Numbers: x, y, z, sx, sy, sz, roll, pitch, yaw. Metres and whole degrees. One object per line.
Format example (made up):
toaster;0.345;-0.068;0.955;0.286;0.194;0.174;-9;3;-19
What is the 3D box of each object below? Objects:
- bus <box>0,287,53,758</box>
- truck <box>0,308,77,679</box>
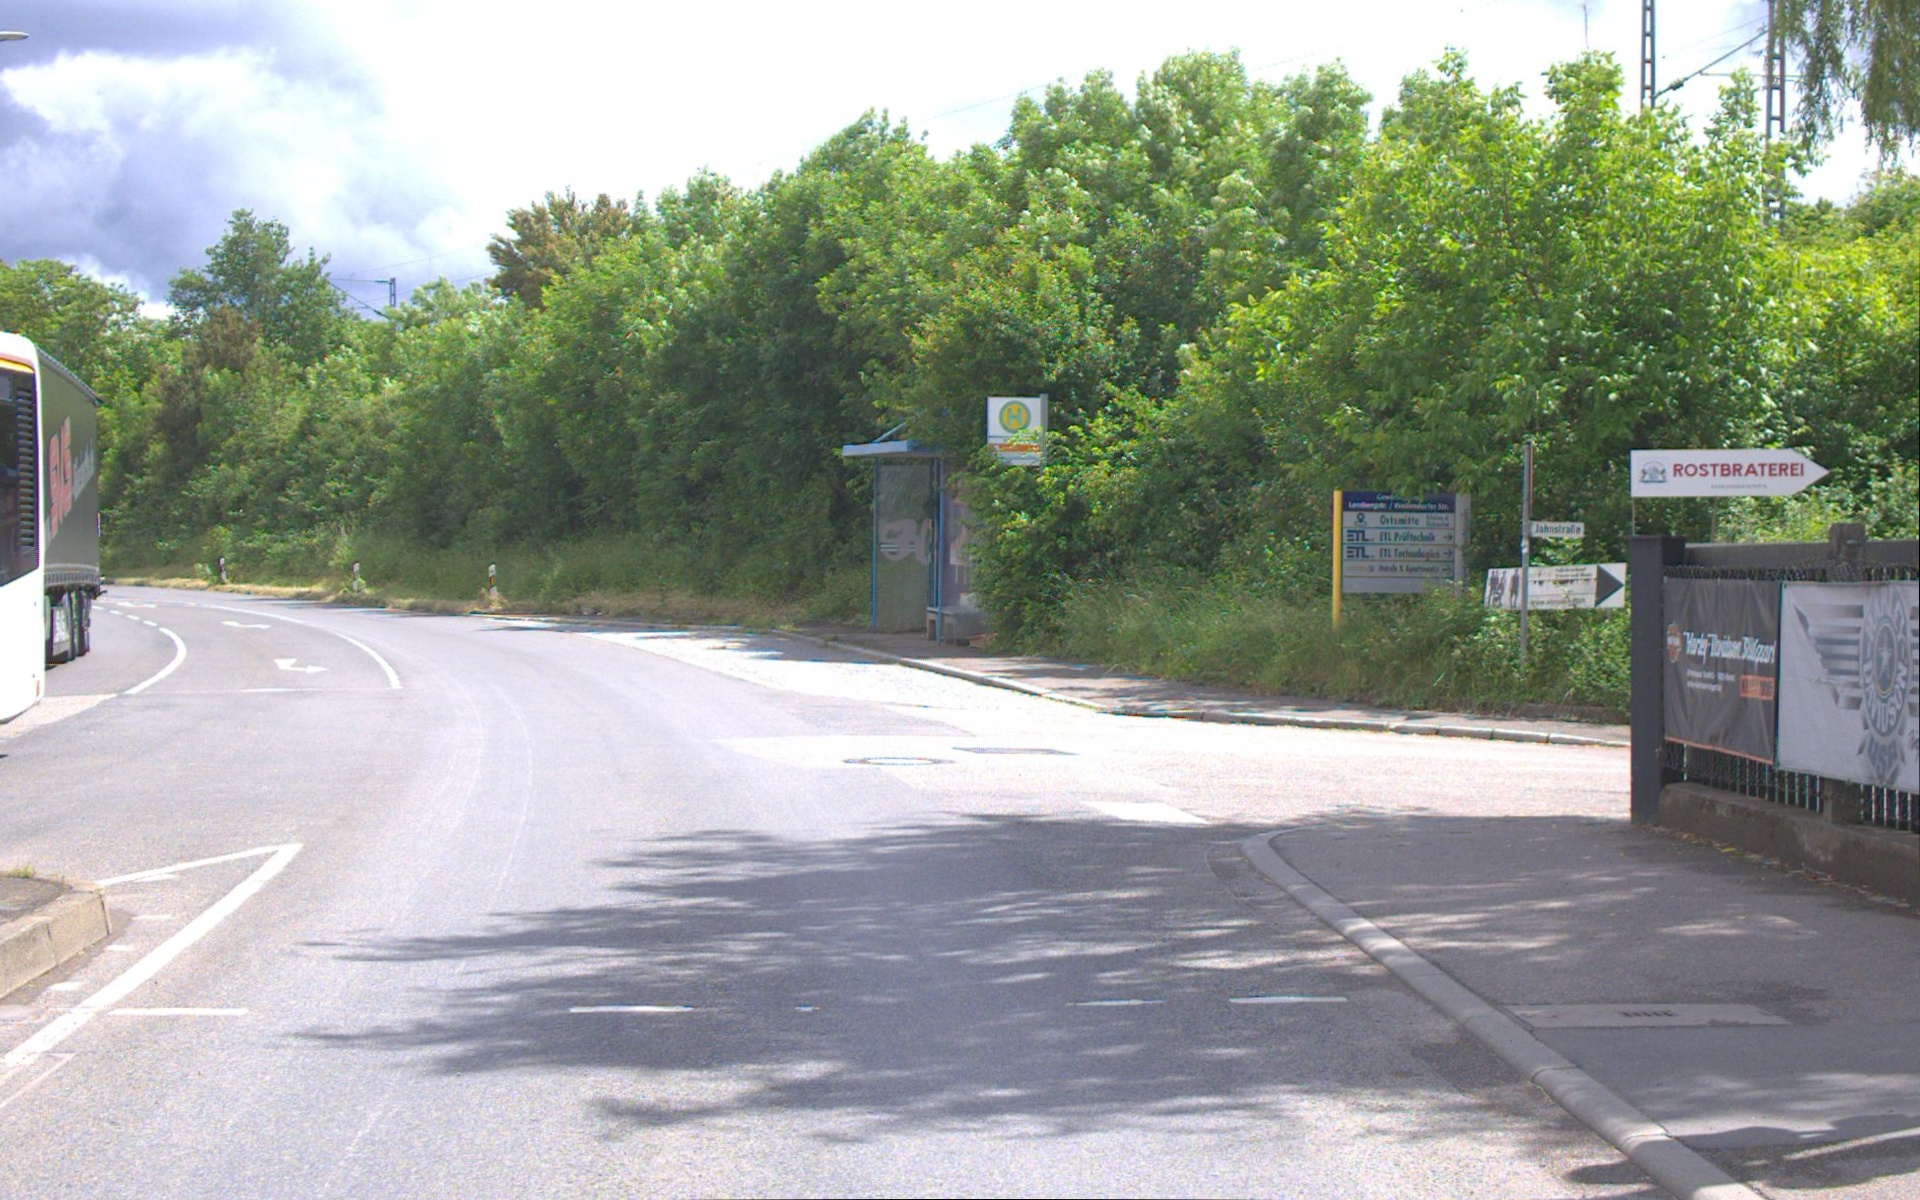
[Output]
bus;-7.957;-0.470;19.068;2.777;3.255;12.124;-1;1;-1
truck;-12.186;-1.234;40.177;2.428;4.117;9.152;2;0;-8
